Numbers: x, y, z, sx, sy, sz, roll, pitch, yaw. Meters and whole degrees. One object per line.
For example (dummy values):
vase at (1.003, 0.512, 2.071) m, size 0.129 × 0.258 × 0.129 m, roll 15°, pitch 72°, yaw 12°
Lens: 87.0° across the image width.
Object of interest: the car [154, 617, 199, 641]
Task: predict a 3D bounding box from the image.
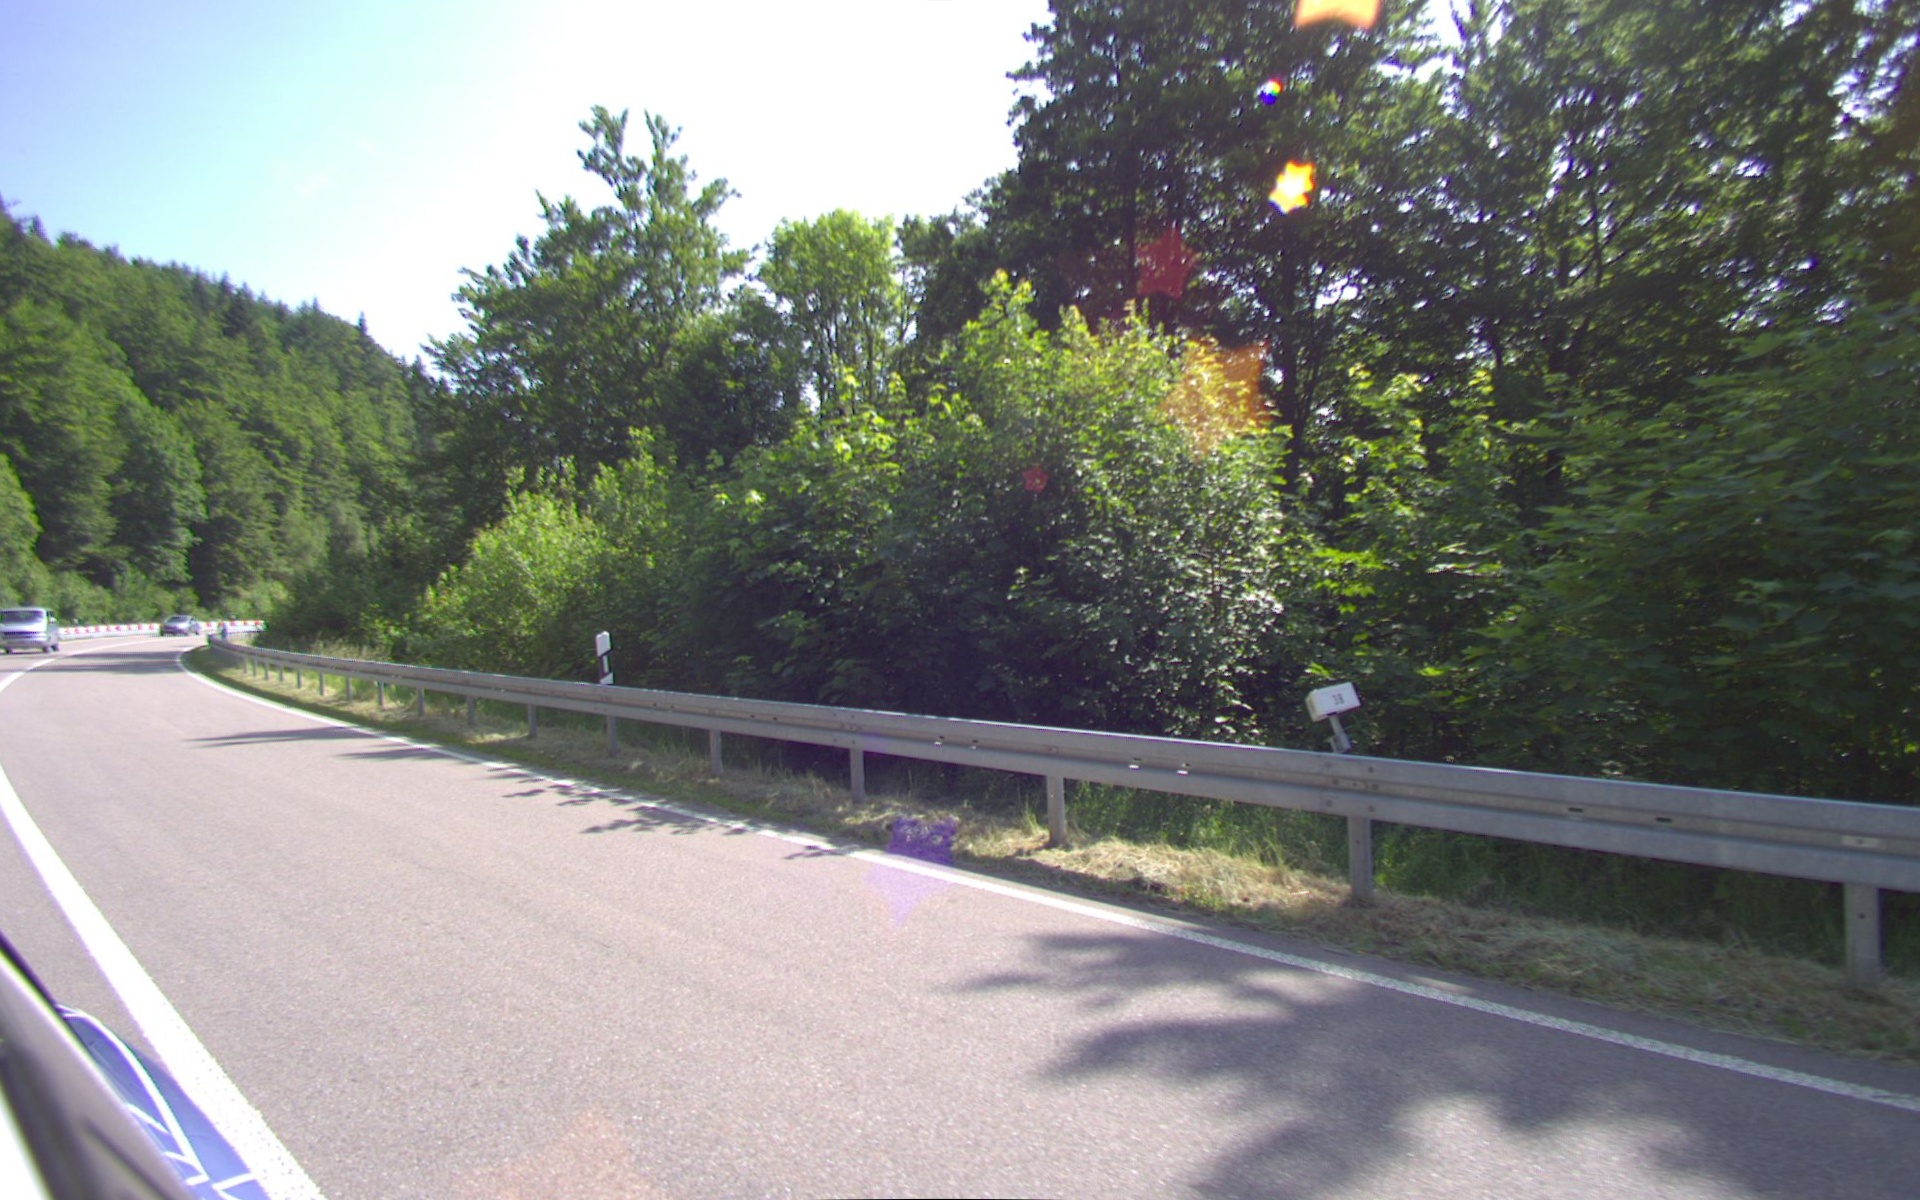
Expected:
car at (-57.059, 2.102, 73.773) m, size 1.966 × 1.655 × 4.013 m, roll -2°, pitch 0°, yaw -28°

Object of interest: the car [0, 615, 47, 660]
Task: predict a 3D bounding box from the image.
car at (-39.127, 1.526, 42.074) m, size 1.628 × 1.773 × 3.800 m, roll 0°, pitch -1°, yaw -41°
